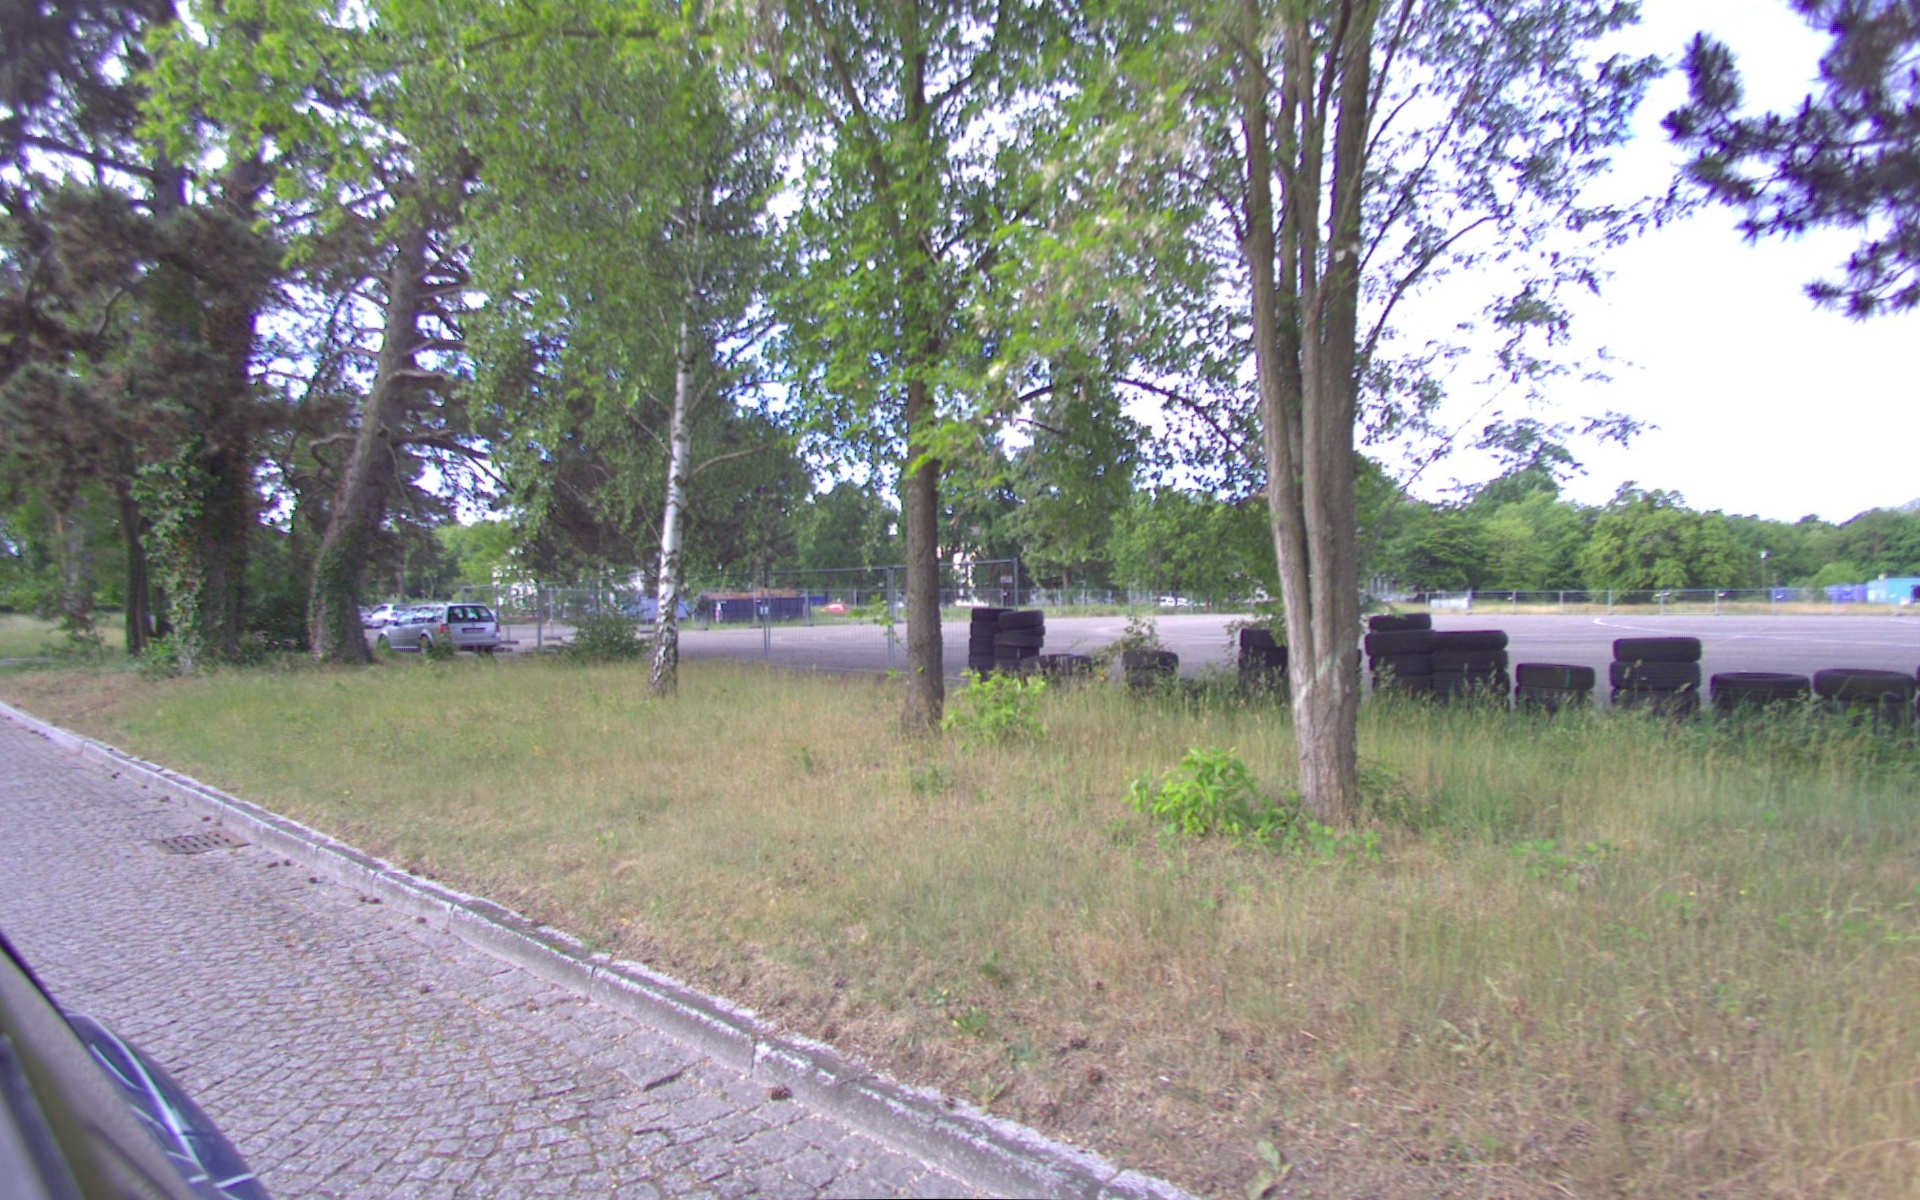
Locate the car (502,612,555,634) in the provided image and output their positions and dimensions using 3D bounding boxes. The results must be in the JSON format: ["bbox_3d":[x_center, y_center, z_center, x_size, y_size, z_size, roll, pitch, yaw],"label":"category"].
[{"bbox_3d":[-33.847,1.787,79.293,4.578,1.533,1.818,-3,-2,38],"label":"car"}]

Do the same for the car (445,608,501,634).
[{"bbox_3d":[-31.590,1.386,65.581,4.111,1.533,1.714,-3,-2,41],"label":"car"}]

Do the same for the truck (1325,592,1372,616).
[{"bbox_3d":[38.494,0.385,100.193,2.372,2.215,6.469,-1,0,39],"label":"truck"}]

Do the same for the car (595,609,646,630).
[{"bbox_3d":[-28.826,1.689,85.888,4.578,1.586,1.818,-3,-2,38],"label":"car"}]

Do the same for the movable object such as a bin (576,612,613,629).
[{"bbox_3d":[-20.922,1.187,57.940,1.930,0.940,1.029,-1,-1,33],"label":"movable object such as a bin"}]

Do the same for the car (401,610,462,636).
[{"bbox_3d":[-33.110,1.428,63.313,4.581,1.480,1.816,-3,-2,41],"label":"car"}]

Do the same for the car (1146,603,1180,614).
[{"bbox_3d":[30.032,1.253,149.784,4.578,1.645,1.818,-1,-1,38],"label":"car"}]

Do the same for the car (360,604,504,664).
[{"bbox_3d":[-14.095,0.867,26.928,4.461,1.449,1.699,-1,0,38],"label":"car"}]

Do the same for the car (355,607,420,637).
[{"bbox_3d":[-34.614,1.328,61.158,4.578,1.590,1.818,-3,-2,38],"label":"car"}]

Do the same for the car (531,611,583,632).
[{"bbox_3d":[-32.441,1.724,81.494,4.578,1.533,1.818,-3,-2,38],"label":"car"}]

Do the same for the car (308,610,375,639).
[{"bbox_3d":[-36.112,1.439,59.049,4.648,1.461,1.818,-3,-2,38],"label":"car"}]
